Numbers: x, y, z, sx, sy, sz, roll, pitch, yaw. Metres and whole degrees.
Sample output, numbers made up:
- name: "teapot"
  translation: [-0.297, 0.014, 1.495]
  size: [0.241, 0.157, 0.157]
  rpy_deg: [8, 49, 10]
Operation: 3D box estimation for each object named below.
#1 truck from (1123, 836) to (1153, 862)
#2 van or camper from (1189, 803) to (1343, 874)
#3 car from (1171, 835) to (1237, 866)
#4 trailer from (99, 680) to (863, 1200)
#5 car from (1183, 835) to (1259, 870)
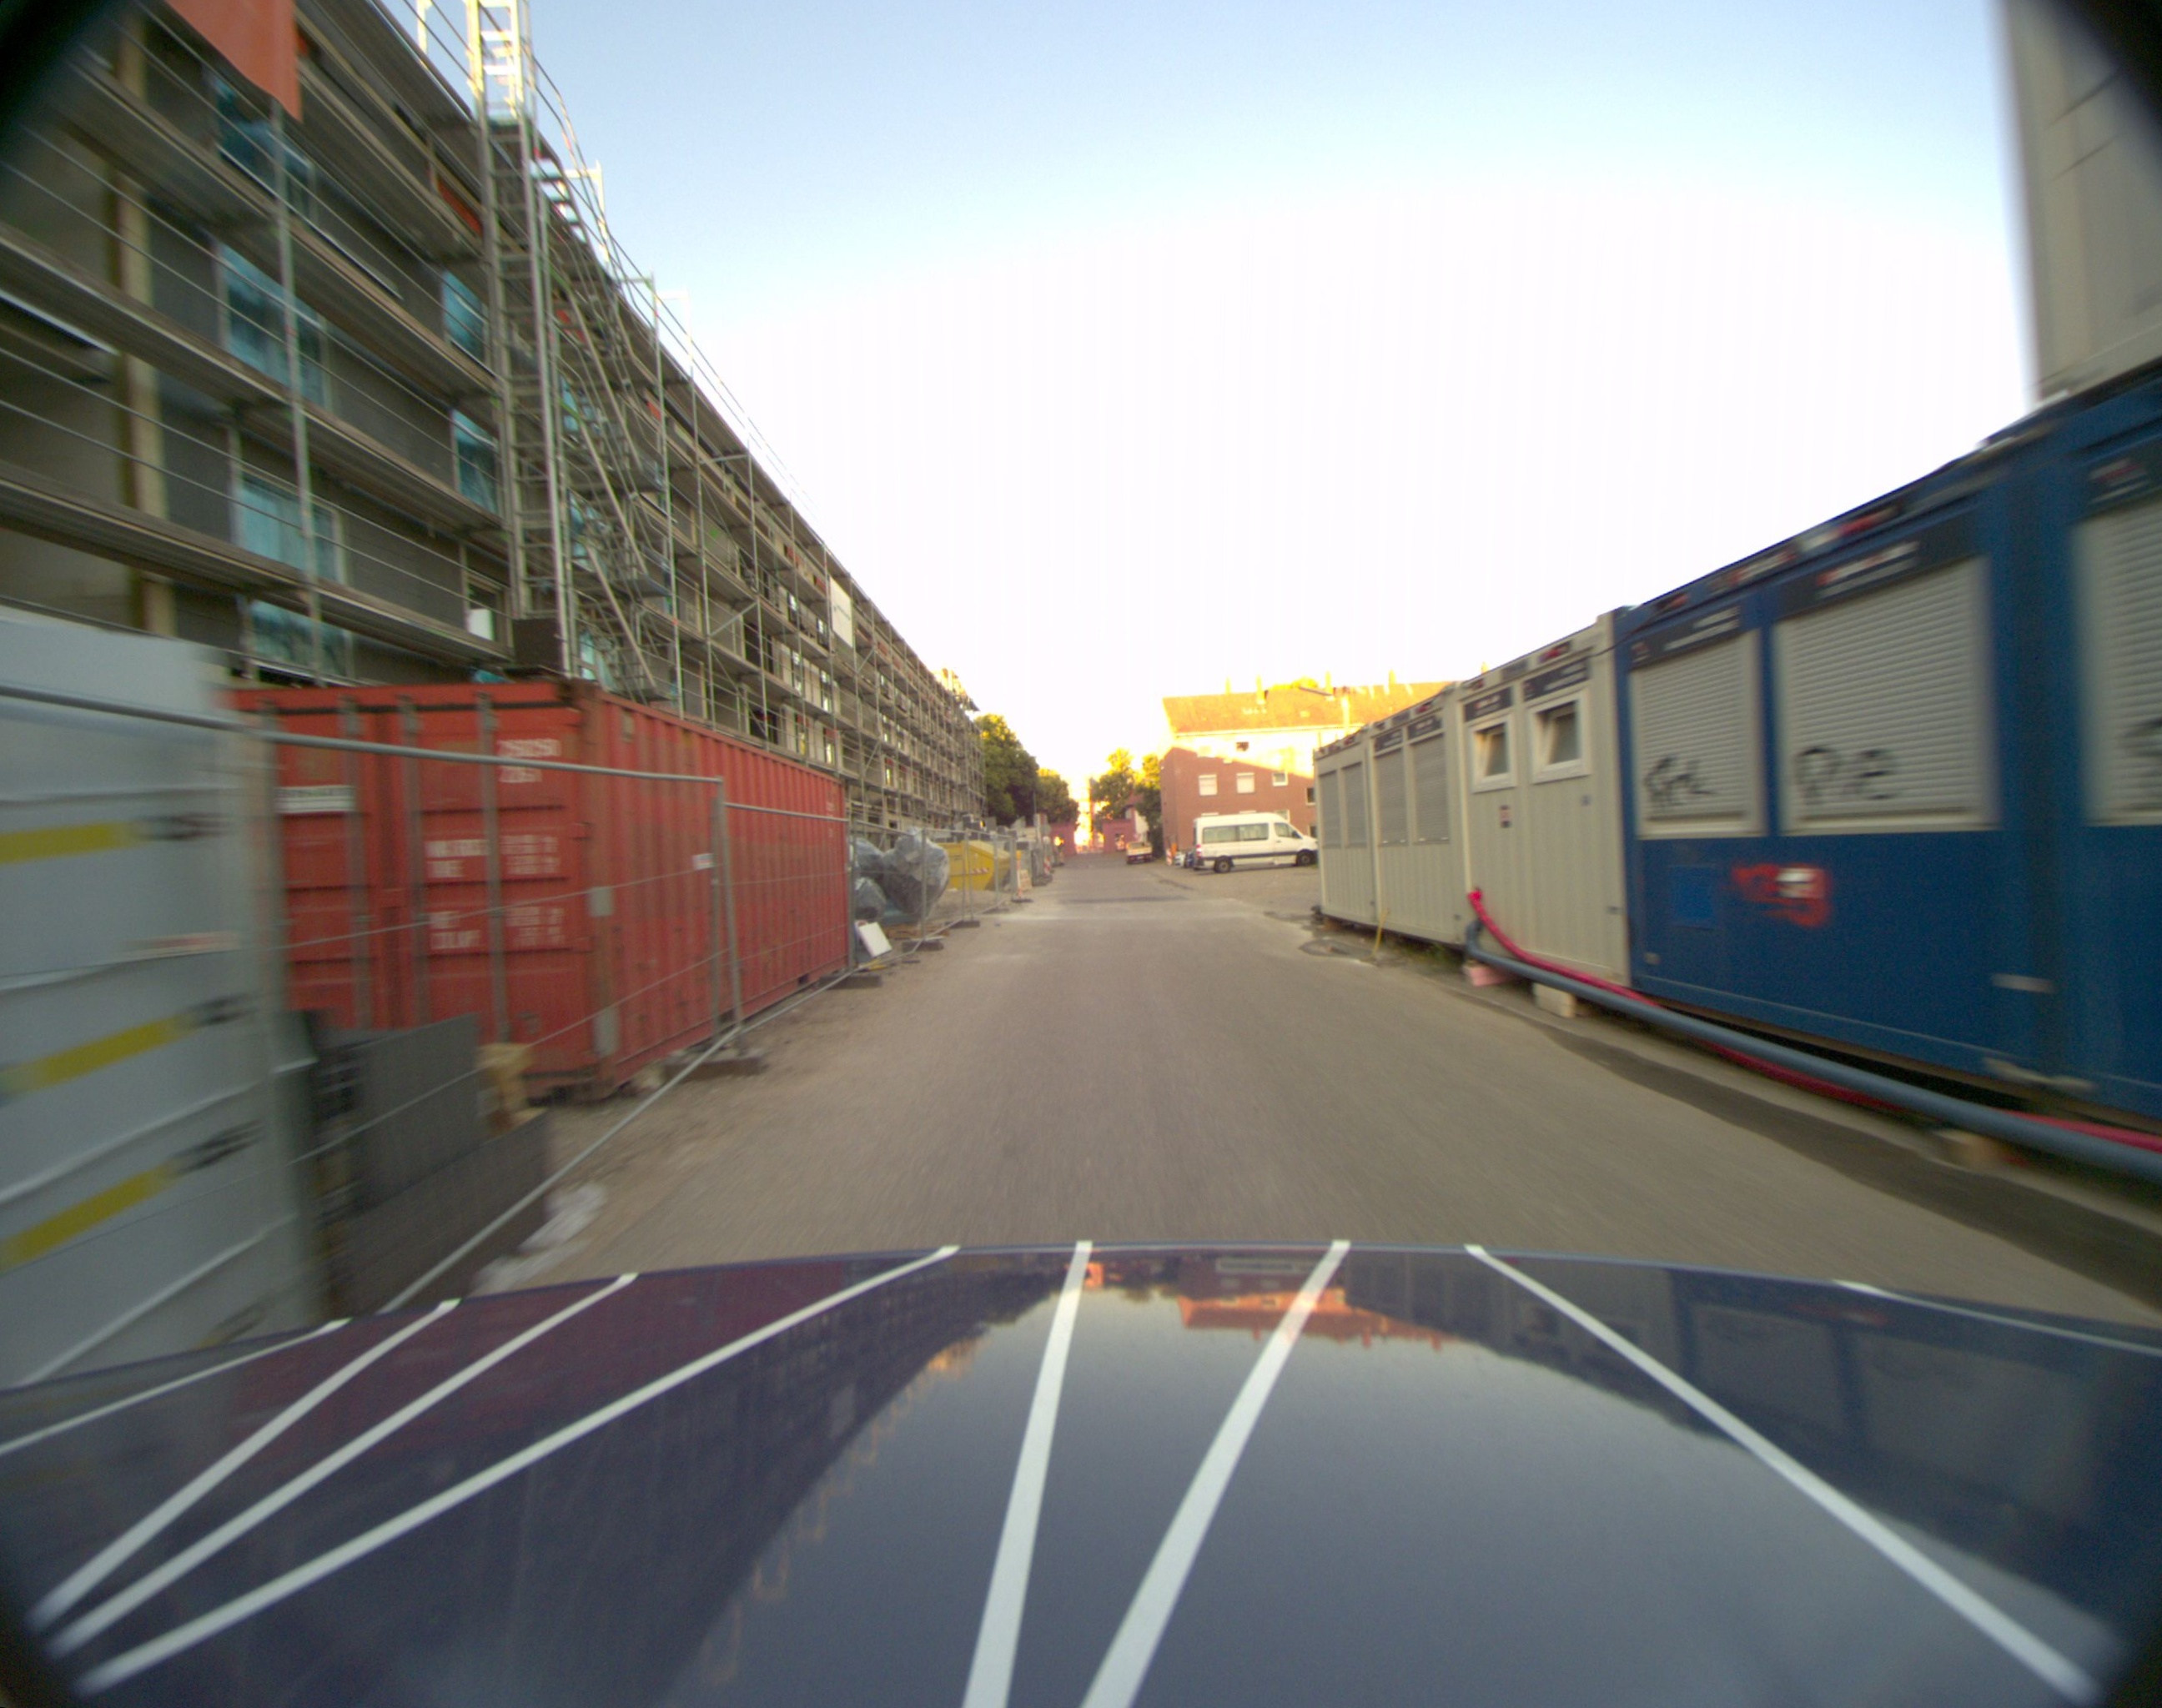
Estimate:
- name: "truck"
  translation: [4.929, -0.449, 66.425]
  size: [1.842, 2.089, 3.738]
  rpy_deg: [-5, 1, -5]
- name: "van or camper"
  translation: [8.491, -0.703, 35.437]
  size: [6.469, 2.625, 2.407]
  rpy_deg: [-5, 1, 3]
- name: "car"
  translation: [7.608, -0.228, 47.290]
  size: [3.726, 1.507, 1.809]
  rpy_deg: [-5, 1, 3]
- name: "trailer"
  translation: [-4.313, 0.457, 7.492]
  size: [2.581, 2.895, 6.235]
  rpy_deg: [-2, 1, -2]
- name: "car"
  translation: [7.534, -0.098, 41.073]
  size: [3.726, 1.507, 1.769]
  rpy_deg: [-5, 1, 3]
